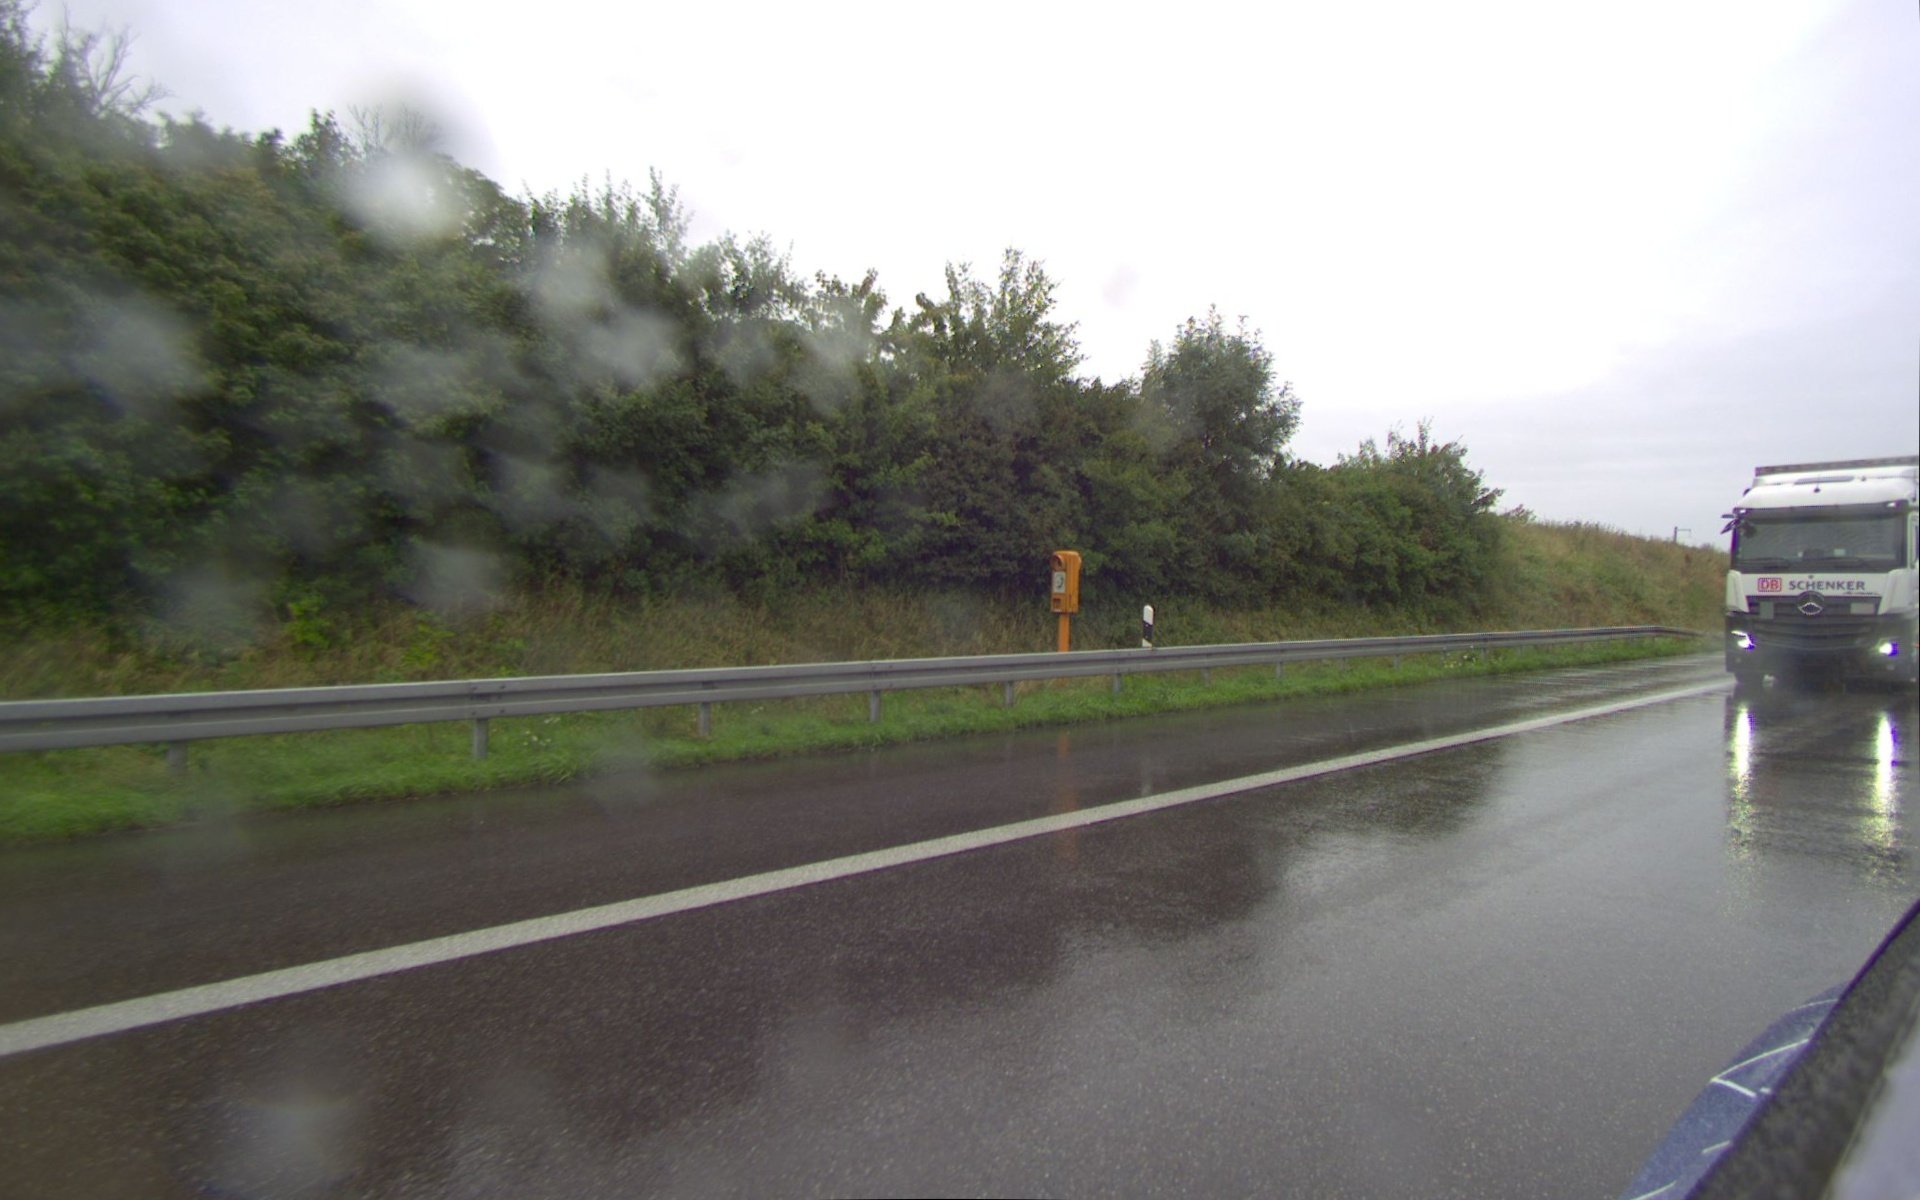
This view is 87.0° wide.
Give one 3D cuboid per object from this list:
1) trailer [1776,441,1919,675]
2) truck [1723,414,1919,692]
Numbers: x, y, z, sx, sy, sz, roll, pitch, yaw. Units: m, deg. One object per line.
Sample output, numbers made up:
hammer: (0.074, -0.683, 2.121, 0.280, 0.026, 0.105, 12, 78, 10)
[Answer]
trailer: (22.423, -0.818, 23.780, 13.928, 4.302, 2.631, 0, 0, -41)
truck: (15.922, -0.751, 18.159, 4.955, 4.307, 2.630, 0, 0, -41)
